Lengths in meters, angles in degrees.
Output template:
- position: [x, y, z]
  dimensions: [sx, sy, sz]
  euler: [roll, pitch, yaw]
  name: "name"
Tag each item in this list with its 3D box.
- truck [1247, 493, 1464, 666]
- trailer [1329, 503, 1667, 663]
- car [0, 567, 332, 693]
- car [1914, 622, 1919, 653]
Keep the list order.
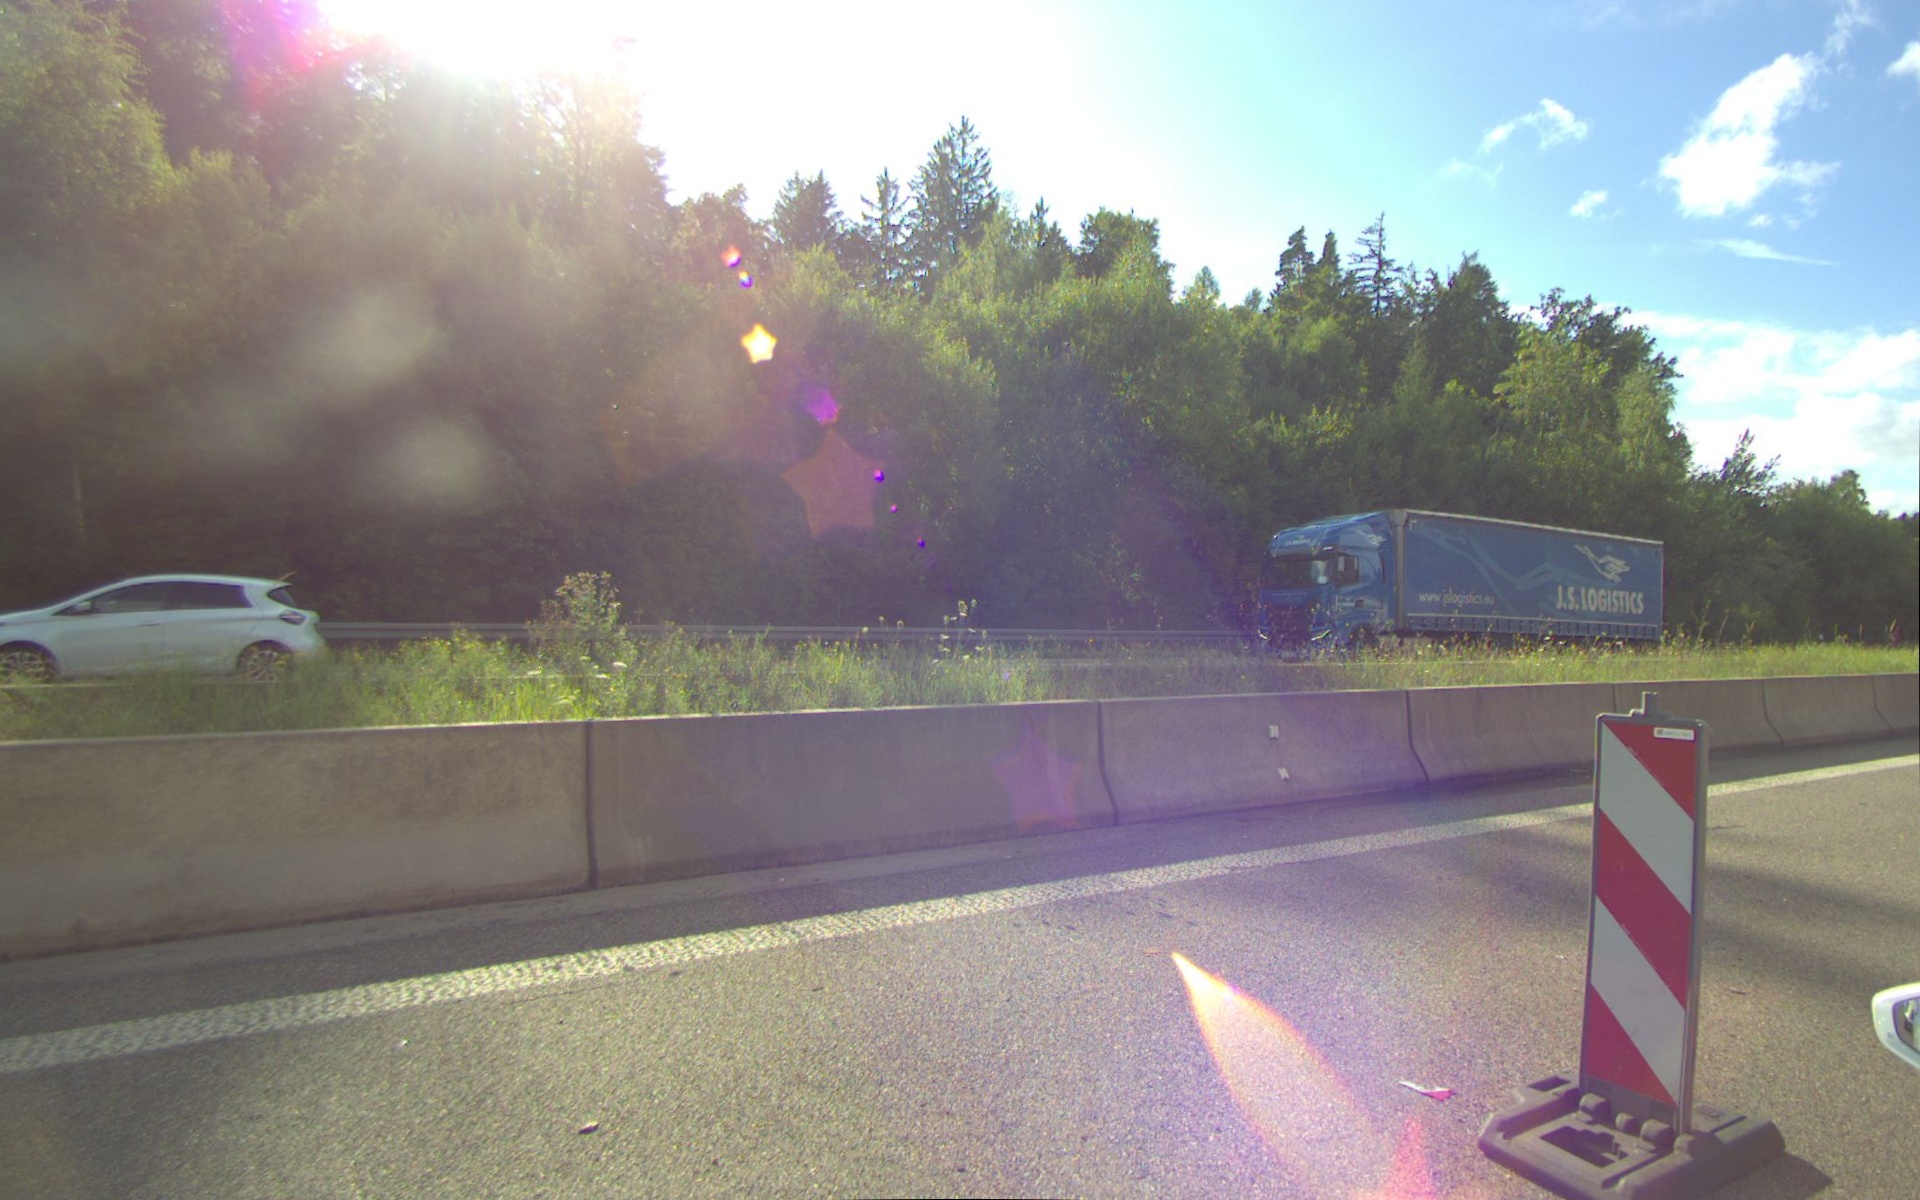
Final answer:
- position: [10.706, -0.455, 27.119]
  dimensions: [5.403, 4.245, 2.625]
  euler: [1, 0, -30]
  name: "truck"
- position: [16.846, -0.306, 30.750]
  dimensions: [13.216, 4.196, 2.607]
  euler: [1, 0, -31]
  name: "trailer"
- position: [-11.198, 0.410, 14.062]
  dimensions: [3.953, 1.581, 1.778]
  euler: [2, 0, -30]
  name: "car"
- position: [64.269, 2.503, 65.450]
  dimensions: [3.953, 2.040, 1.984]
  euler: [2, 0, -30]
  name: "car"
